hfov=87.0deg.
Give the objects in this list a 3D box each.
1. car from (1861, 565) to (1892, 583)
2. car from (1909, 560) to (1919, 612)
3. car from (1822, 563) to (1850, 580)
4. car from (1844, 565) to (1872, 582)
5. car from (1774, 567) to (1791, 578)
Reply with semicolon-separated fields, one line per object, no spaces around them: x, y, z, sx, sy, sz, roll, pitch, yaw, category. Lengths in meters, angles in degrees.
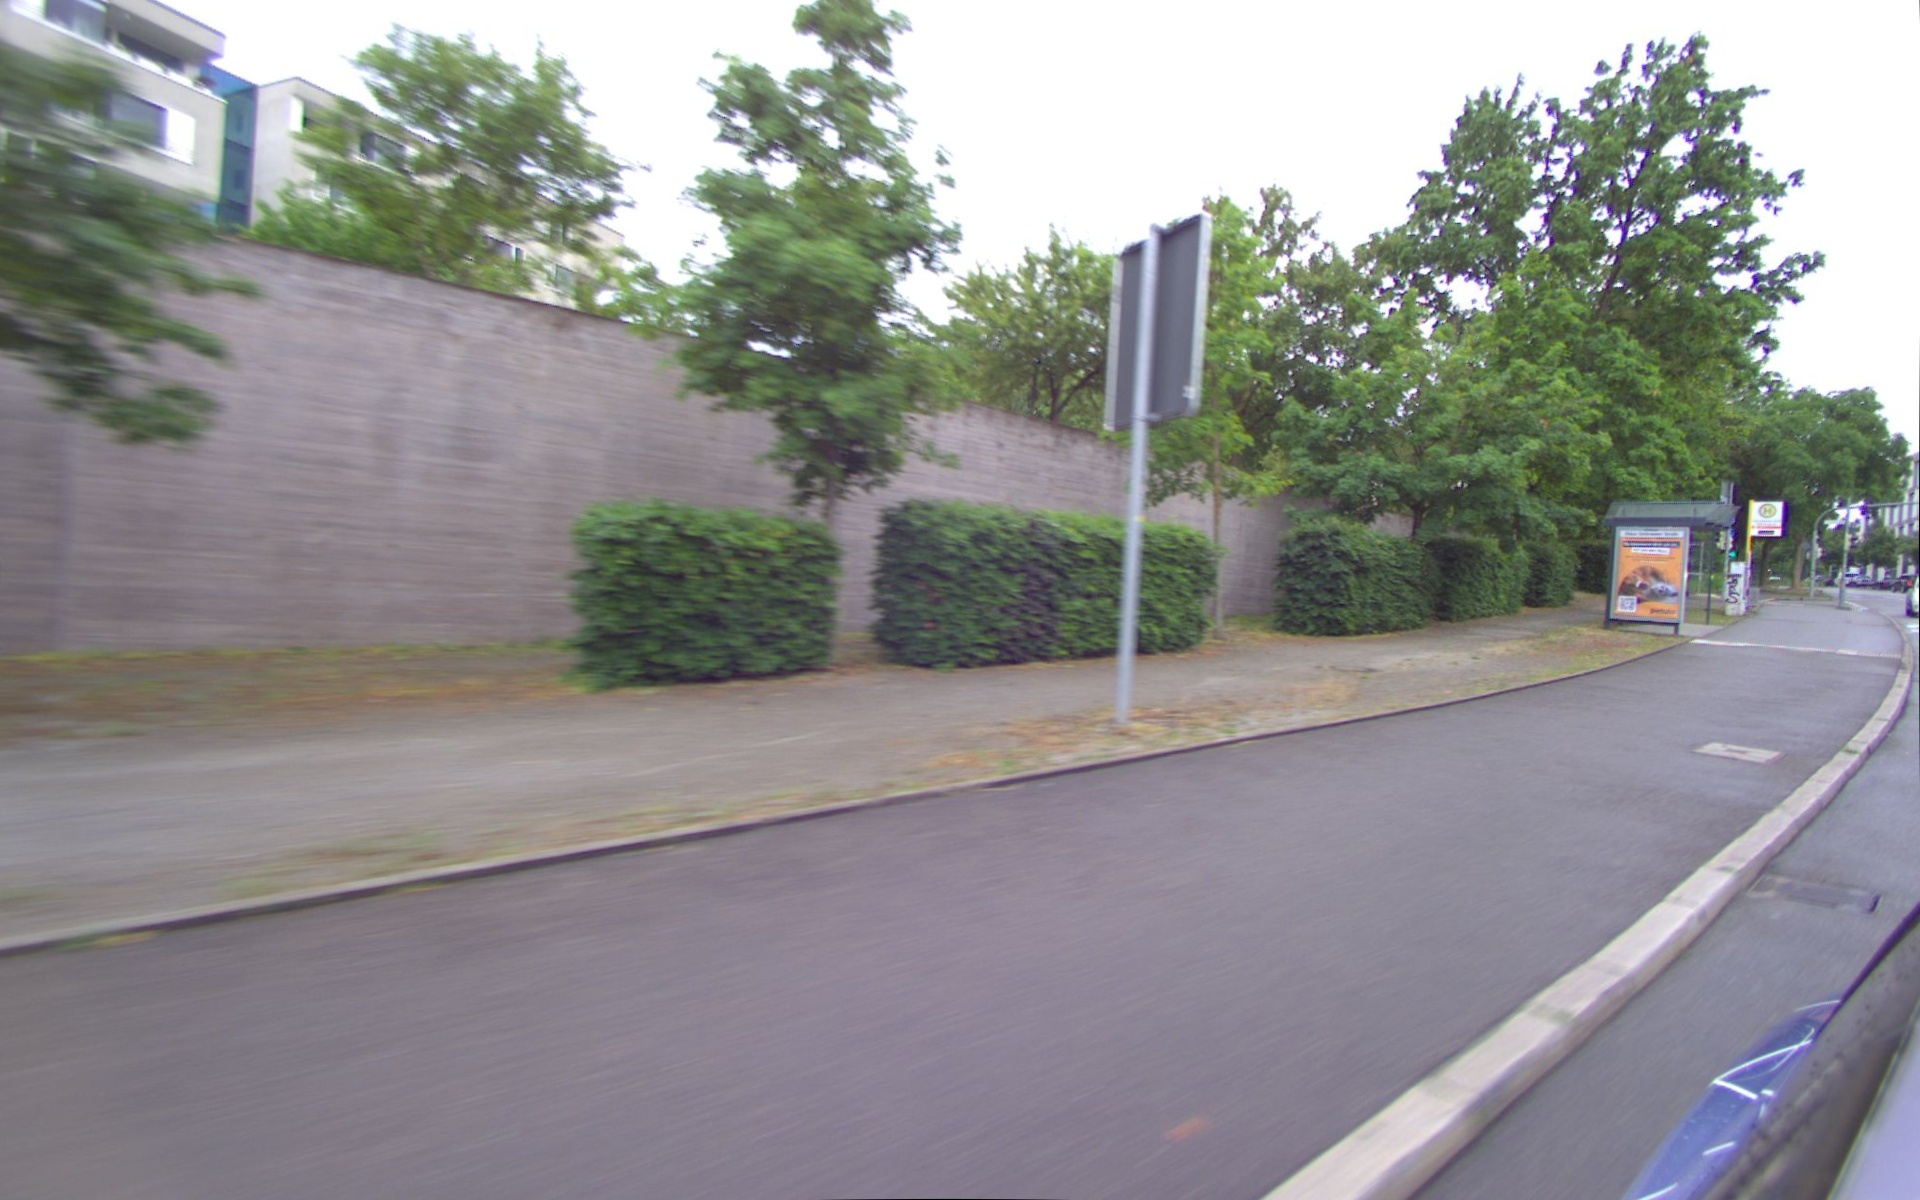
111.115;-3.100;122.716;1.911;2.039;4.336;2;1;32;car
34.428;-0.429;35.083;3.931;1.683;1.925;3;0;-43;car
110.912;-3.611;128.171;1.986;2.038;3.953;4;3;33;car
114.166;-3.408;128.686;1.911;2.039;4.336;2;1;32;car
142.829;-4.791;175.772;1.987;1.771;3.951;3;3;34;car
